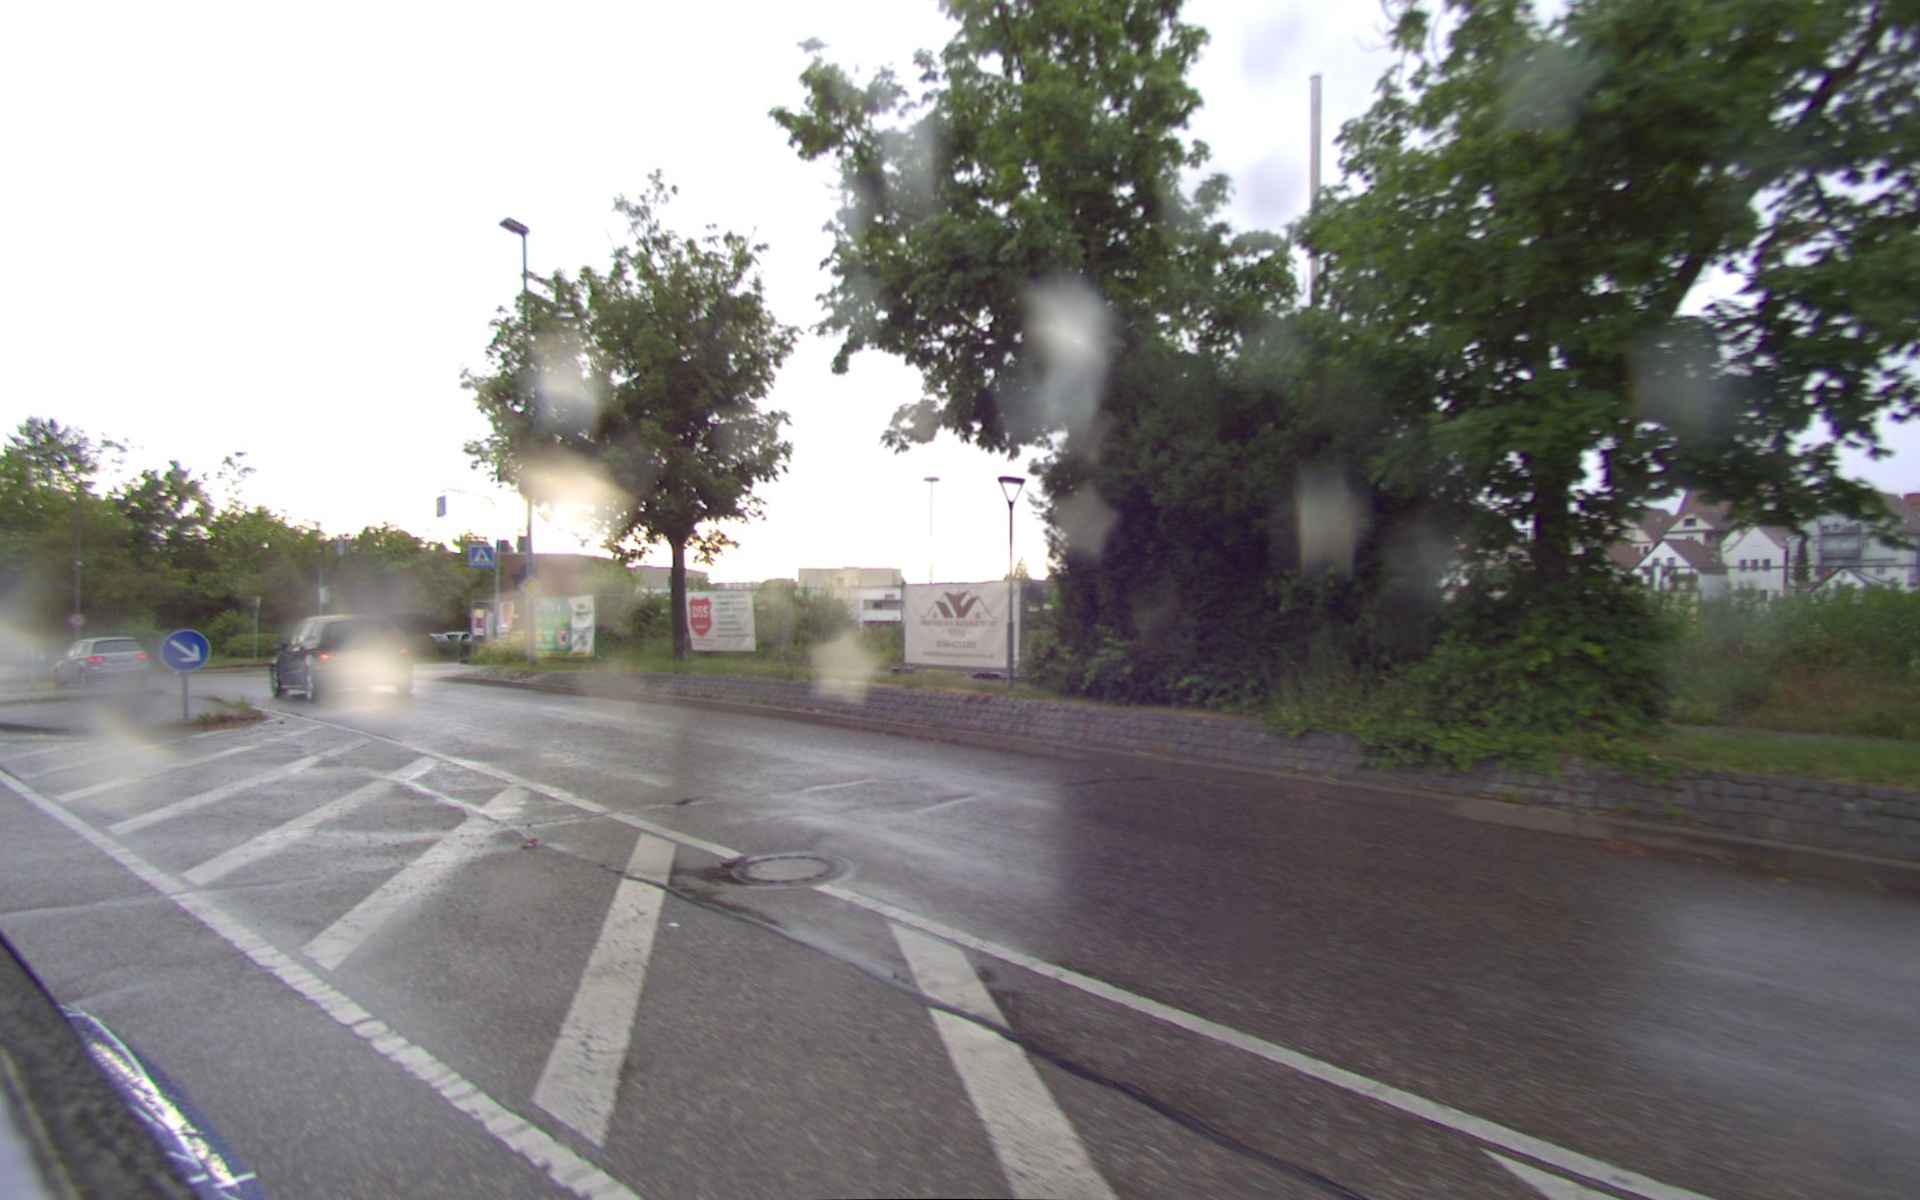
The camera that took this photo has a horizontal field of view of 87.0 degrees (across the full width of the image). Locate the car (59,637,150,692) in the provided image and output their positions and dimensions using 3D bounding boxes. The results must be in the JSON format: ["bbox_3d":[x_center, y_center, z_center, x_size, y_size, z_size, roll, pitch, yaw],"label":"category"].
[{"bbox_3d":[-28.327,2.095,33.475,4.152,1.563,1.627,-2,2,41],"label":"car"}]

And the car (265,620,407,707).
[{"bbox_3d":[-12.495,1.201,20.165,1.621,1.532,4.074,-1,-1,-43],"label":"car"}]
